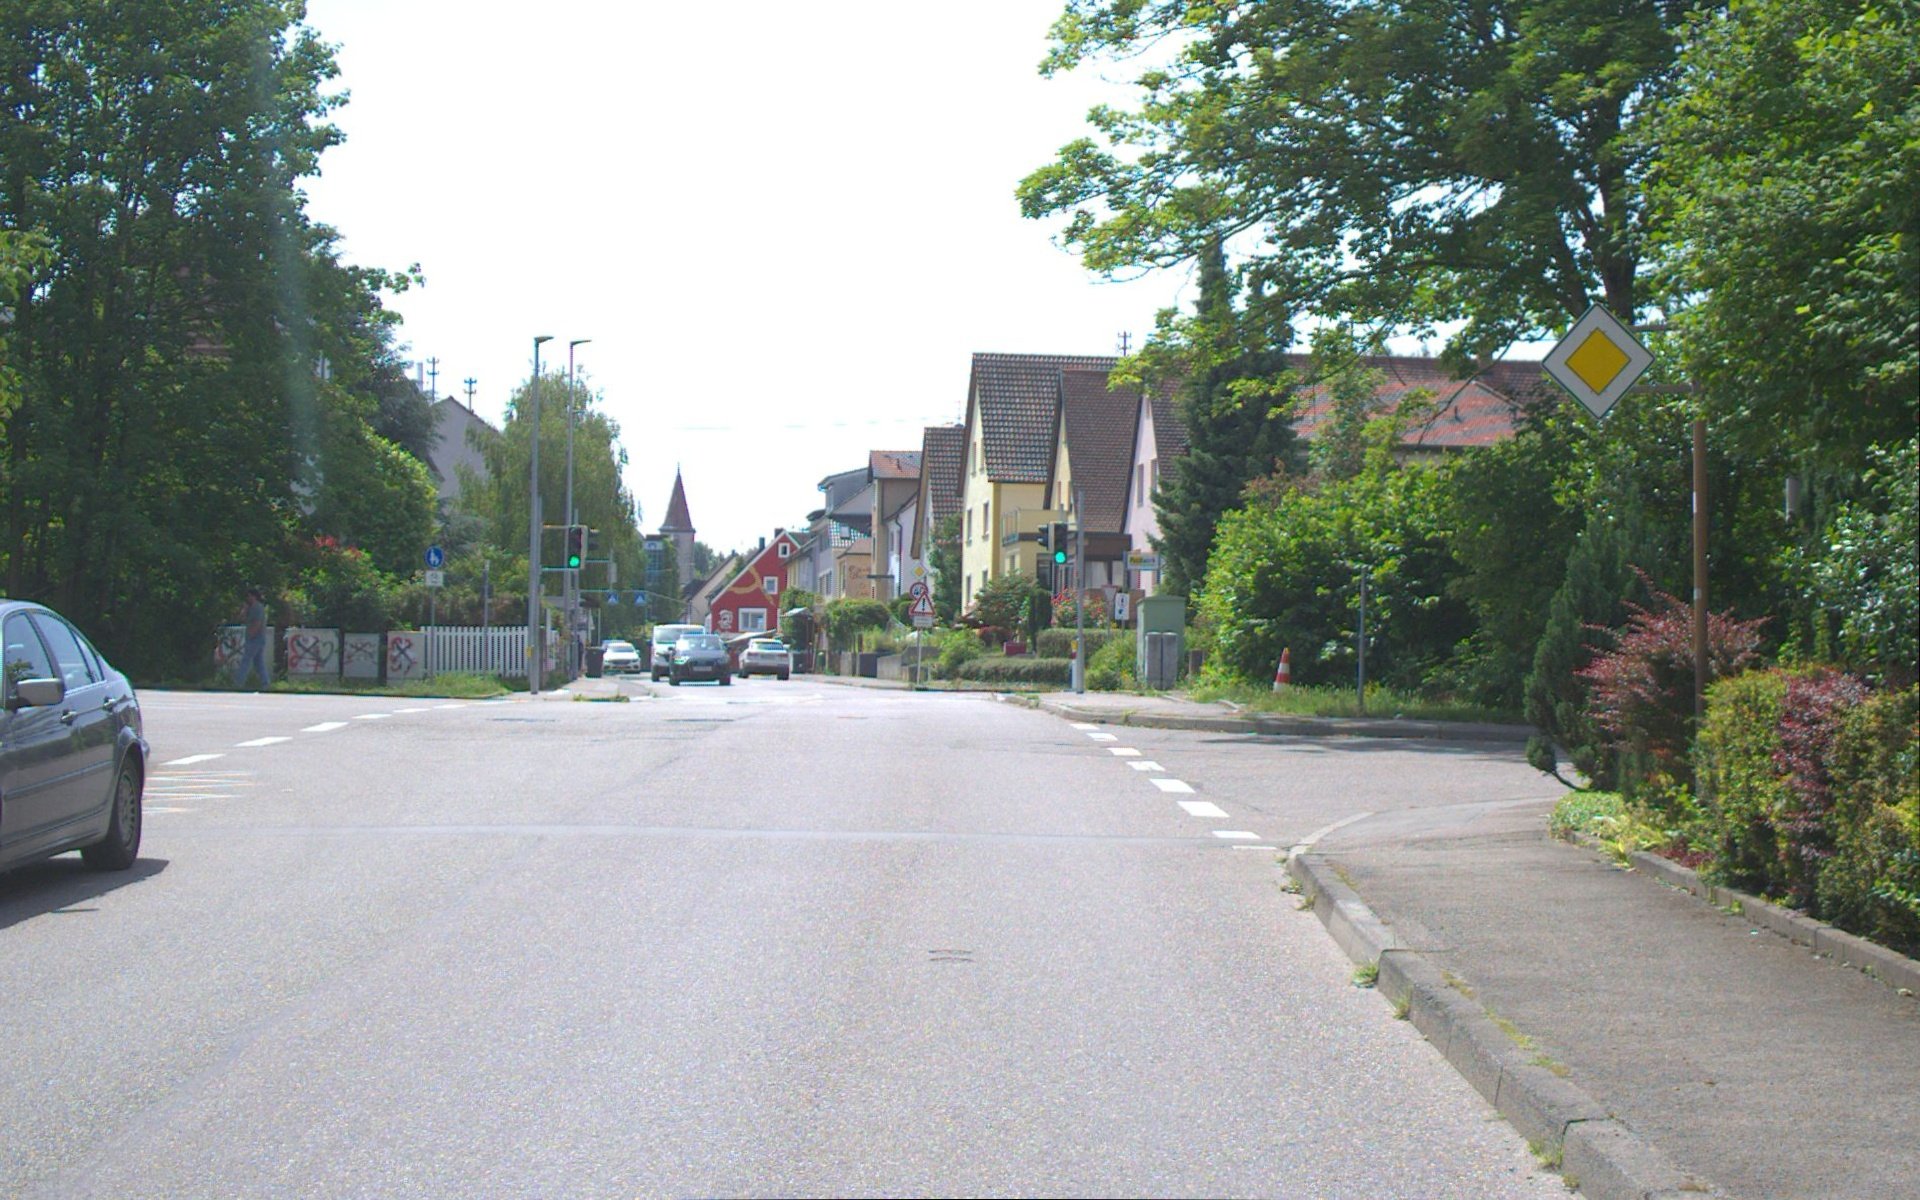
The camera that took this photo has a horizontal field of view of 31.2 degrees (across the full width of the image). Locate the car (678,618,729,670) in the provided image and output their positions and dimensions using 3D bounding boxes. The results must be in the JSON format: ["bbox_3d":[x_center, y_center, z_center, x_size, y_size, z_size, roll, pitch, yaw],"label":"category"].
[{"bbox_3d":[-7.985,1.347,106.703,1.534,1.536,4.305,1,0,-5],"label":"car"}]

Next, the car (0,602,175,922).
[{"bbox_3d":[-5.089,0.717,16.197,1.780,1.390,4.409,-1,0,0],"label":"car"}]

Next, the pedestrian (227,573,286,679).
[{"bbox_3d":[-11.933,0.444,58.313,0.736,1.771,0.689,-2,-2,18],"label":"pedestrian"}]

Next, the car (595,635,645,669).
[{"bbox_3d":[-16.225,2.483,164.176,2.110,1.555,4.314,0,-1,-2],"label":"car"}]

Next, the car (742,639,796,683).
[{"bbox_3d":[-7.511,2.404,135.414,1.993,1.598,4.000,0,1,-2],"label":"car"}]

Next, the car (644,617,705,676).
[{"bbox_3d":[-9.896,1.639,118.909,1.879,1.958,4.903,-1,-1,-7],"label":"car"}]
